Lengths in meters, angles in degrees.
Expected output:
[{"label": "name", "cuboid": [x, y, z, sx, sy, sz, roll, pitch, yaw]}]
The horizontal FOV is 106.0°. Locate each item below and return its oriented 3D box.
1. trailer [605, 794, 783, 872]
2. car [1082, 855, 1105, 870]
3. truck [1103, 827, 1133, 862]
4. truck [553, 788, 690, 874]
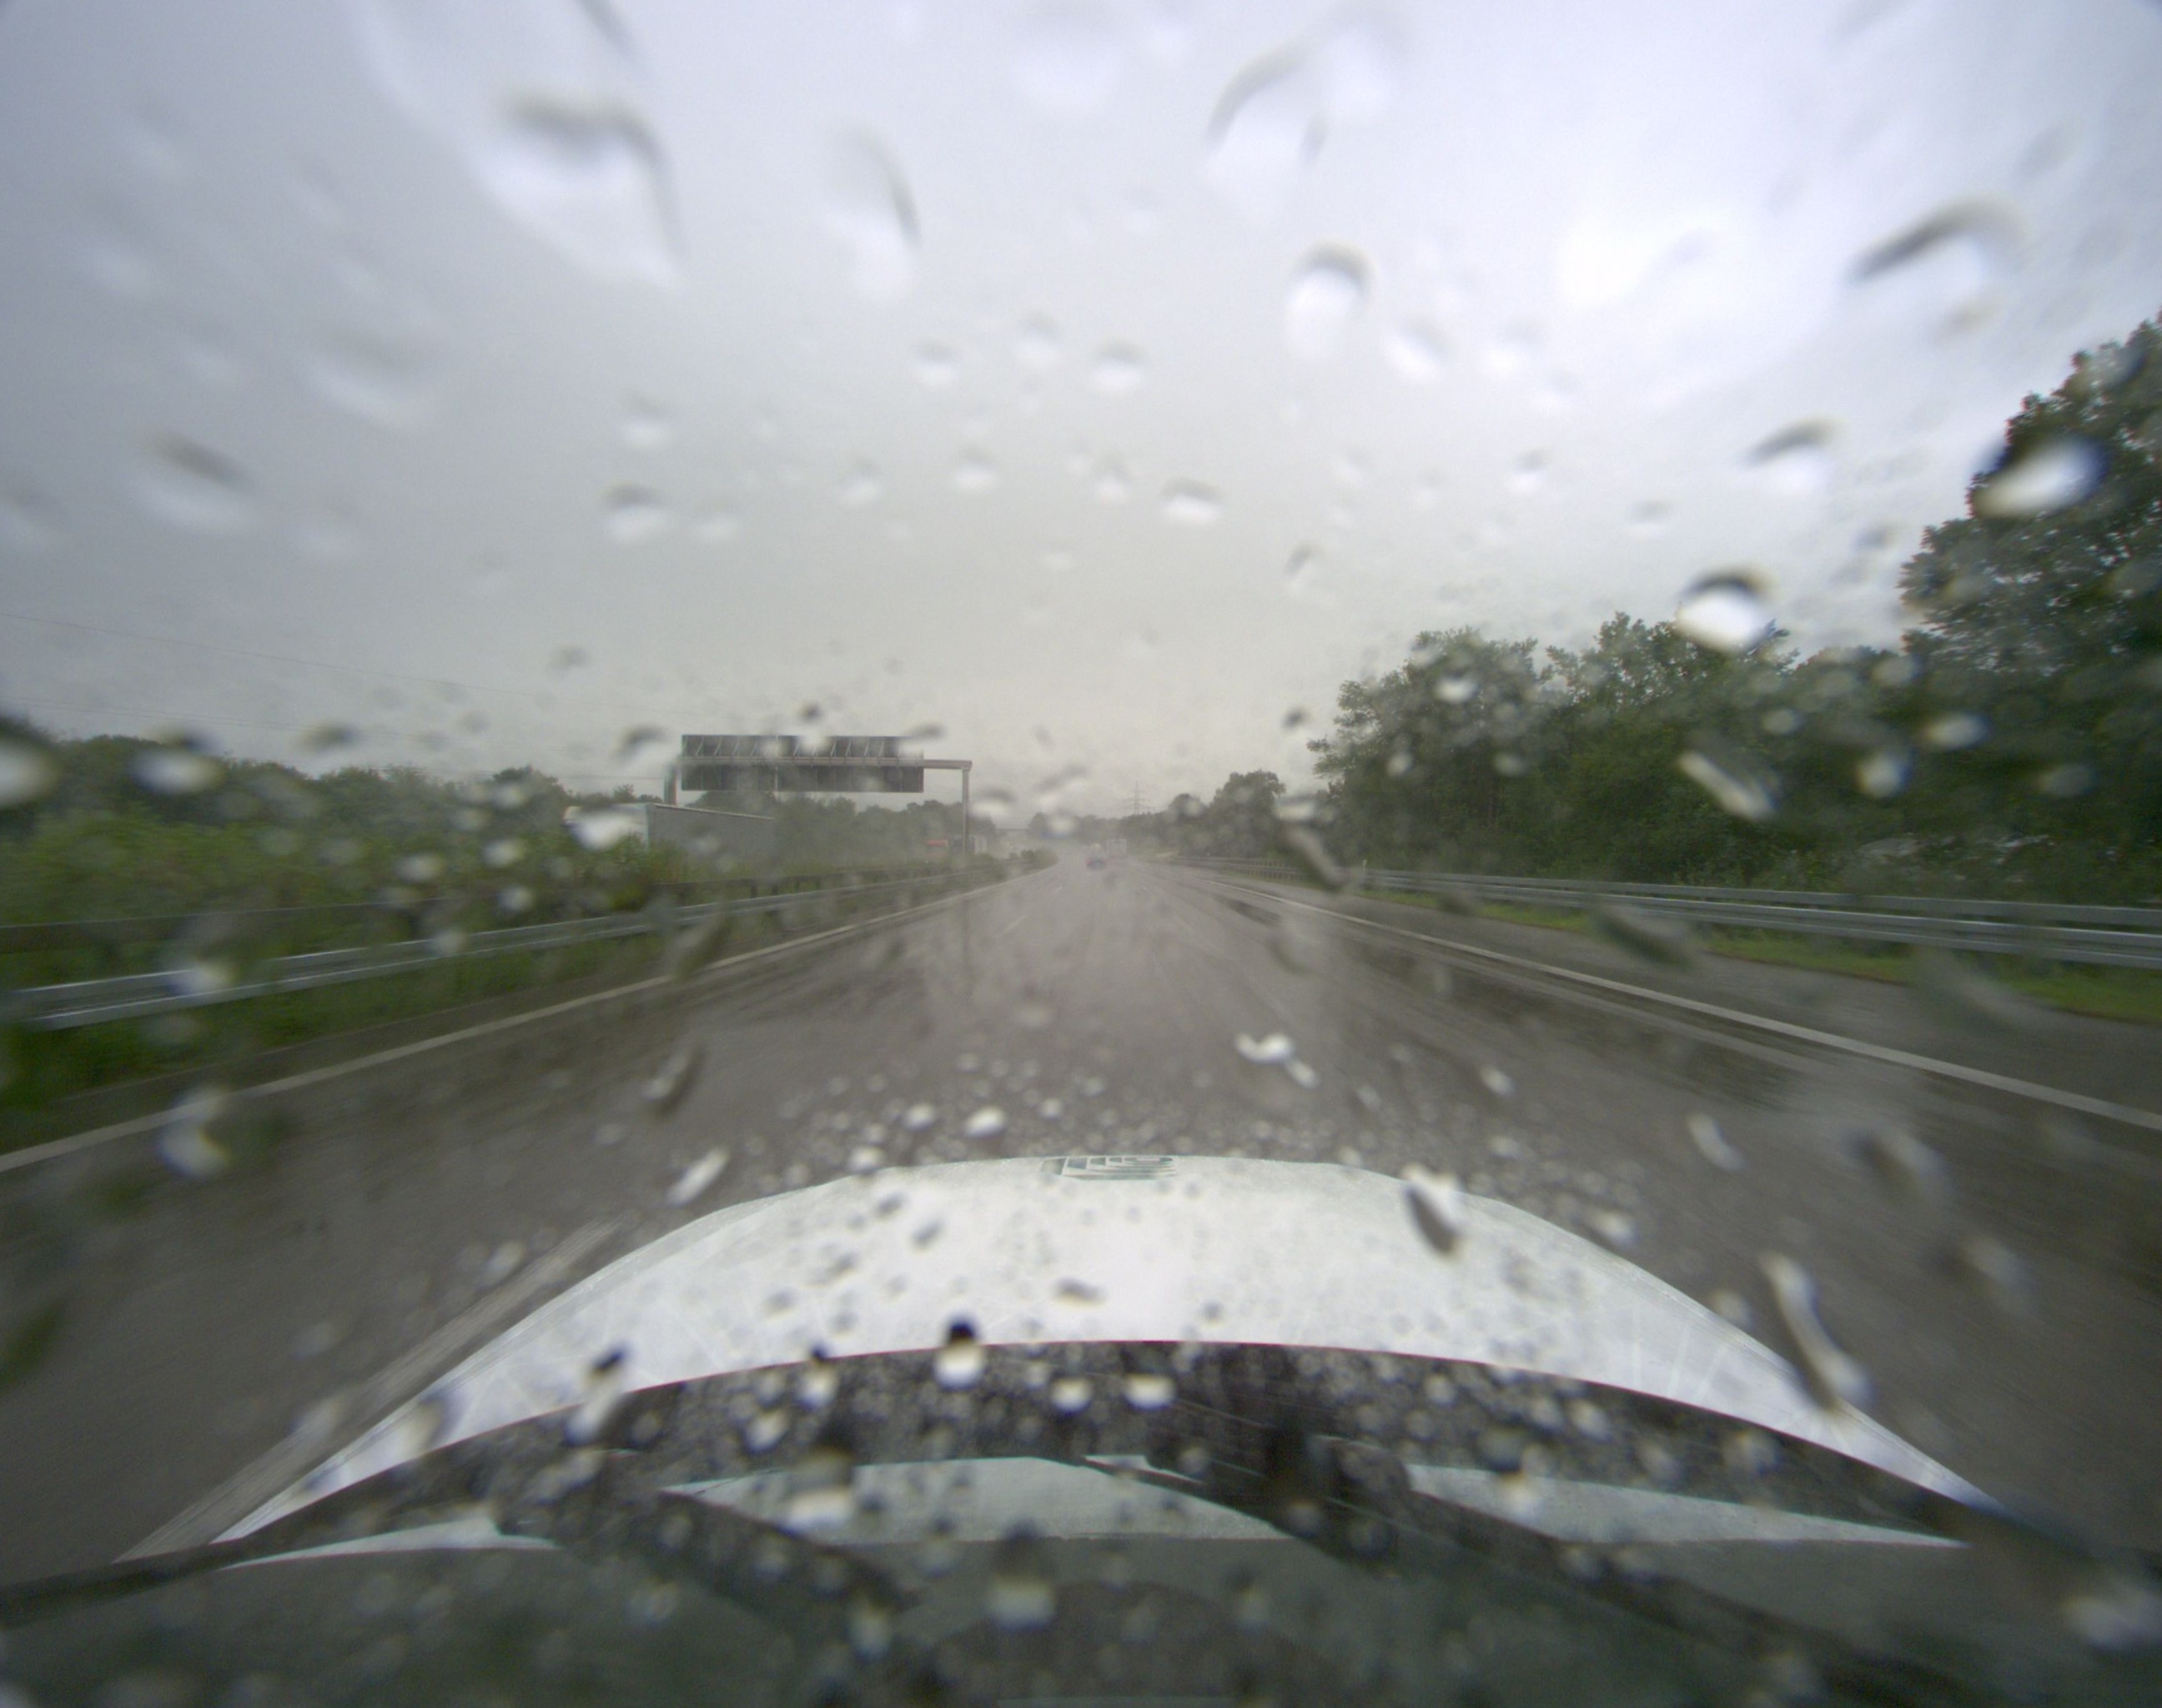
[{"label": "trailer", "cuboid": [-19.515, -0.998, 42.629, 2.664, 3.407, 13.451, 1, 0, 1]}, {"label": "car", "cuboid": [1.101, 0.715, 69.951, 1.741, 1.212, 4.004, 2, 0, 3]}, {"label": "truck", "cuboid": [5.881, -1.542, 129.583, 4.239, 4.971, 17.354, -2, 1, 3]}, {"label": "truck", "cuboid": [-19.701, -0.952, 35.329, 2.657, 3.416, 5.529, 1, 0, 1]}]
